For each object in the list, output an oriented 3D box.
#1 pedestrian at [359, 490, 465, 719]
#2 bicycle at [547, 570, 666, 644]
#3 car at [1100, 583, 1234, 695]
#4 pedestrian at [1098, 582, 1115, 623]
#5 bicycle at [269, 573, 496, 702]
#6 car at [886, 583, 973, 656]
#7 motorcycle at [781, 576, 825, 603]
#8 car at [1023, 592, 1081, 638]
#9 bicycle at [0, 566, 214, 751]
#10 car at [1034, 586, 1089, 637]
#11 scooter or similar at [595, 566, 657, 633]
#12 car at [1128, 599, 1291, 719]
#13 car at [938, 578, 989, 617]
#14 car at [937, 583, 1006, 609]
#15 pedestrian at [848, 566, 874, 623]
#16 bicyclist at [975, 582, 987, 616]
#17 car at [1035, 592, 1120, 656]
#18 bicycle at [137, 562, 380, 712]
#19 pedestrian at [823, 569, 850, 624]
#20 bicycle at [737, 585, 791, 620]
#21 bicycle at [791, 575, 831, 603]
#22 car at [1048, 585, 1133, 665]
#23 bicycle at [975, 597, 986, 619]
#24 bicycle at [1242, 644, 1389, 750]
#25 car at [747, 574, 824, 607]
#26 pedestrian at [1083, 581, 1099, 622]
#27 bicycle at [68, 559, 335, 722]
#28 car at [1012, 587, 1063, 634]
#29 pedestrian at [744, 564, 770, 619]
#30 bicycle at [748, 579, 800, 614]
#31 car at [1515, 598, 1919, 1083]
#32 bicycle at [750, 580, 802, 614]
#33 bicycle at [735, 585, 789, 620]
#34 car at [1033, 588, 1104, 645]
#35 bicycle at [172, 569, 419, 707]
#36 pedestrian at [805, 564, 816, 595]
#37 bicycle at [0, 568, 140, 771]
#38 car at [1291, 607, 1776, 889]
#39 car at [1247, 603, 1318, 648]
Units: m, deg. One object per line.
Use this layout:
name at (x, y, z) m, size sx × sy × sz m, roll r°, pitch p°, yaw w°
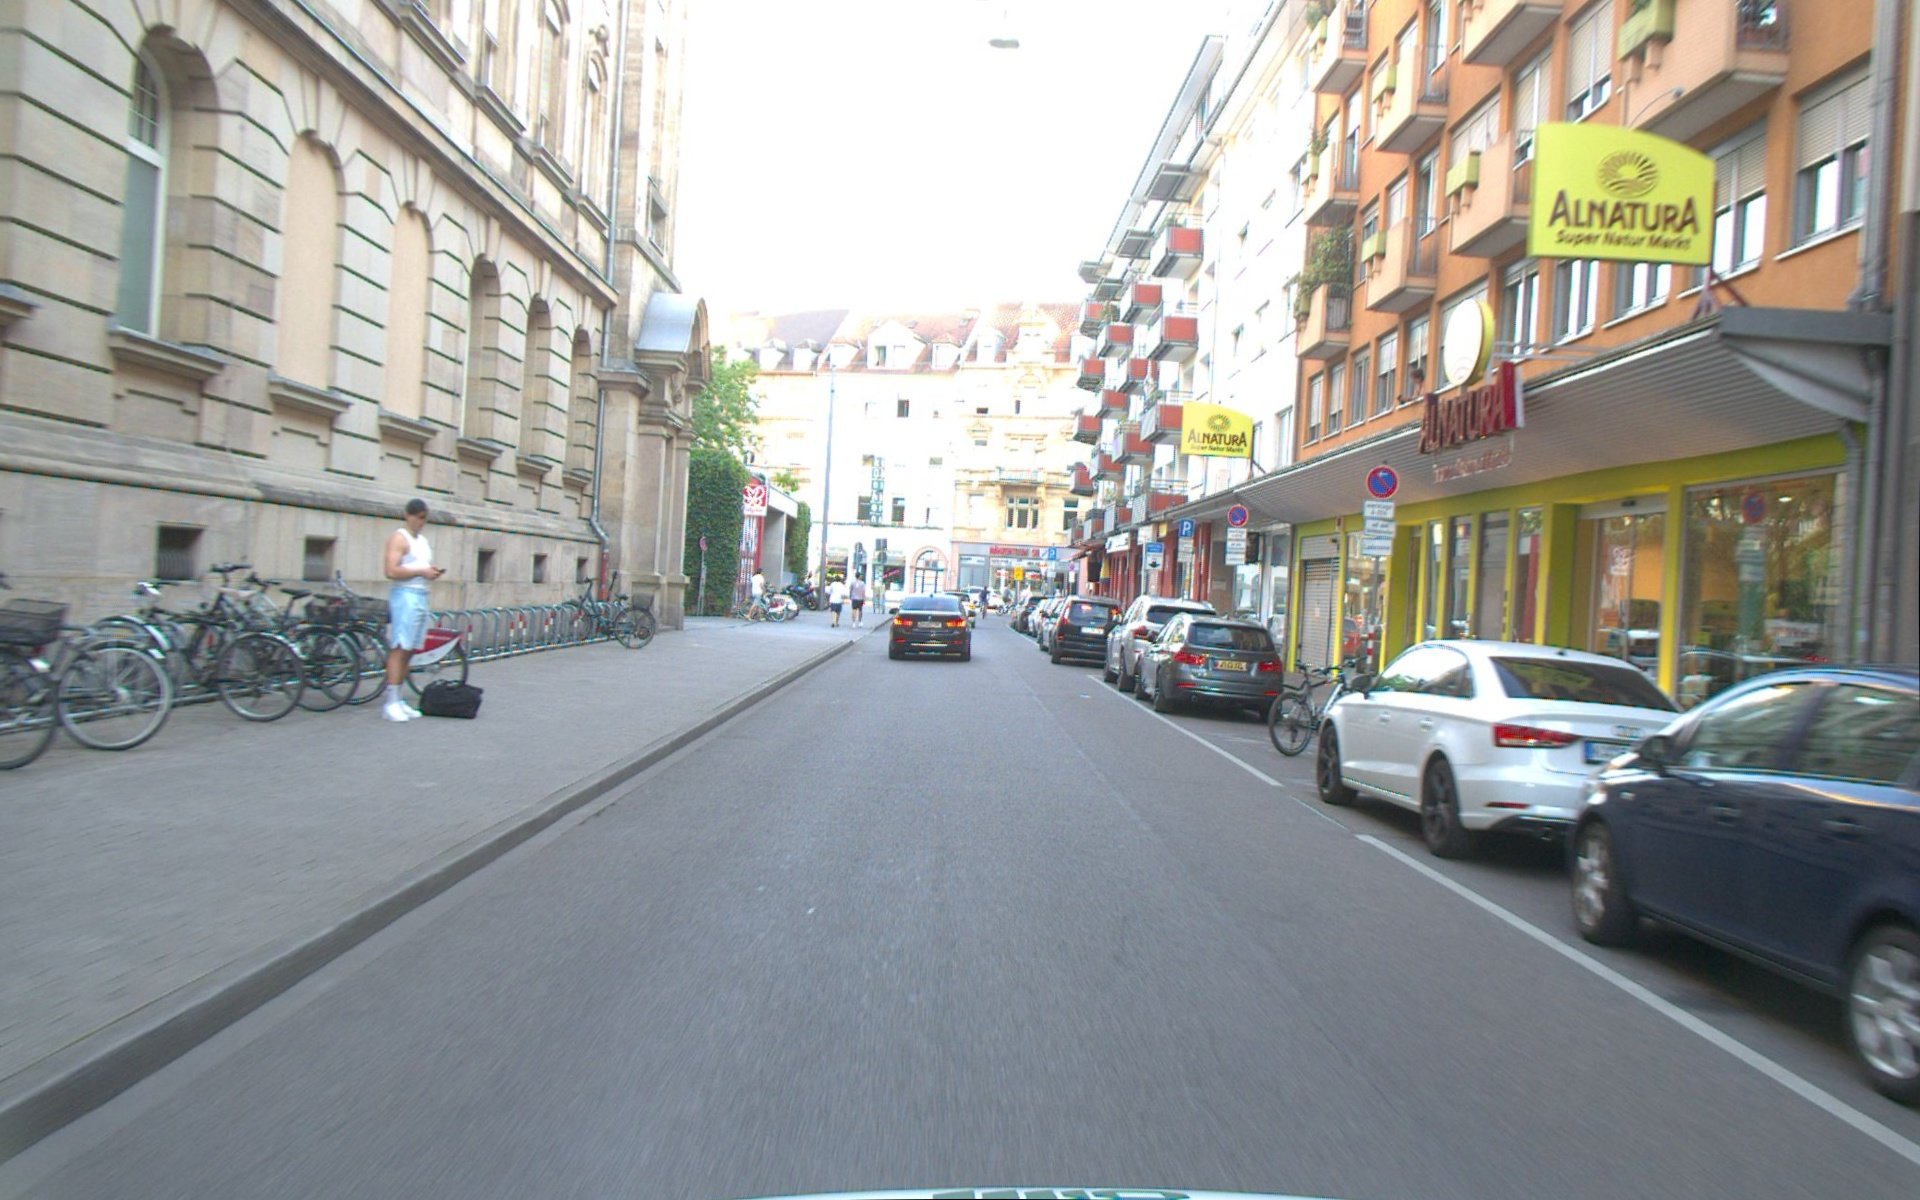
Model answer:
pedestrian at (-4.717, 0.030, 14.270) m, size 0.577 × 1.883 × 0.753 m, roll 5°, pitch 0°, yaw -6°
bicycle at (-6.178, 0.127, 28.885) m, size 1.906 × 1.079 × 0.617 m, roll 6°, pitch -1°, yaw -16°
car at (3.661, 0.633, 30.073) m, size 1.717 × 1.696 × 4.756 m, roll 5°, pitch 1°, yaw 0°
pedestrian at (6.065, 0.090, 68.443) m, size 0.634 × 1.690 × 0.794 m, roll 0°, pitch 0°, yaw 1°
bicycle at (-5.572, 0.362, 16.029) m, size 1.899 × 1.080 × 0.619 m, roll 4°, pitch -1°, yaw -3°
car at (-0.631, 0.390, 36.992) m, size 1.729 × 1.398 × 4.790 m, roll 4°, pitch 1°, yaw 0°
motorcycle at (-7.075, -0.486, 74.598) m, size 1.765 × 1.082 × 0.764 m, roll 4°, pitch 0°, yaw 25°
car at (3.421, 0.533, 62.269) m, size 1.665 × 1.477 × 4.457 m, roll 5°, pitch 1°, yaw -2°
bicycle at (-5.986, 0.346, 10.747) m, size 1.900 × 1.080 × 0.619 m, roll 4°, pitch 0°, yaw -7°
car at (3.465, 0.377, 57.090) m, size 1.574 × 1.538 × 4.048 m, roll 5°, pitch 1°, yaw 1°
scooter or similar at (-6.595, -0.012, 32.667) m, size 1.113 × 1.254 × 0.495 m, roll 4°, pitch 0°, yaw -13°
car at (3.664, 0.808, 25.105) m, size 1.657 × 1.439 × 4.756 m, roll 5°, pitch 1°, yaw 0°
car at (0.192, -0.116, 68.693) m, size 1.838 × 1.498 × 4.002 m, roll 2°, pitch 1°, yaw 3°
car at (0.763, -0.271, 112.883) m, size 4.263 × 1.589 × 1.868 m, roll 3°, pitch 0°, yaw 22°
pedestrian at (-3.443, -0.208, 57.549) m, size 0.729 × 1.926 × 1.050 m, roll 4°, pitch 1°, yaw 0°
bicyclist at (1.113, -0.070, 88.044) m, size 0.513 × 1.787 × 0.620 m, roll 3°, pitch 0°, yaw 1°
car at (3.117, 0.601, 44.690) m, size 1.702 × 1.439 × 4.681 m, roll 5°, pitch 1°, yaw -2°
bicycle at (-5.981, 0.314, 14.166) m, size 1.760 × 1.127 × 0.499 m, roll 4°, pitch -1°, yaw -7°
pedestrian at (-4.277, -0.120, 57.189) m, size 0.726 × 1.843 × 1.009 m, roll 5°, pitch 0°, yaw -1°
bicycle at (-6.775, 0.084, 57.298) m, size 1.758 × 1.127 × 0.500 m, roll 3°, pitch 0°, yaw -1°
bicycle at (-6.964, -0.517, 77.376) m, size 1.760 × 1.126 × 0.499 m, roll 4°, pitch 0°, yaw -6°
car at (3.082, 0.535, 39.313) m, size 1.757 × 1.637 × 4.489 m, roll 5°, pitch 1°, yaw 4°
bicycle at (1.084, 0.396, 88.067) m, size 0.525 × 1.127 × 1.800 m, roll 3°, pitch 0°, yaw 1°
bicycle at (3.939, 1.072, 18.270) m, size 1.723 × 1.073 × 0.650 m, roll 4°, pitch 0°, yaw -42°
car at (-9.177, -0.502, 86.856) m, size 3.913 × 1.527 × 1.888 m, roll 2°, pitch 1°, yaw -9°
pedestrian at (5.403, 0.061, 68.436) m, size 0.634 × 1.690 × 0.655 m, roll 0°, pitch 0°, yaw 1°
bicycle at (-5.918, 0.316, 12.967) m, size 1.760 × 1.127 × 0.499 m, roll 4°, pitch -1°, yaw -7°
car at (3.206, 0.405, 68.803) m, size 1.729 × 1.670 × 4.790 m, roll 5°, pitch 1°, yaw 0°
pedestrian at (-6.810, -0.293, 55.439) m, size 0.702 × 1.785 × 0.848 m, roll 3°, pitch 0°, yaw -2°
bicycle at (-6.734, -0.119, 59.820) m, size 1.757 × 1.127 × 0.500 m, roll 4°, pitch 0°, yaw 2°
car at (3.976, 0.869, 7.085) m, size 1.586 × 1.542 × 4.172 m, roll 5°, pitch 1°, yaw -2°
bicycle at (-6.723, -0.124, 60.453) m, size 1.757 × 1.127 × 0.500 m, roll 4°, pitch 0°, yaw 2°
bicycle at (-6.904, 0.079, 57.643) m, size 1.758 × 1.127 × 0.500 m, roll 3°, pitch 0°, yaw -2°
car at (3.383, 0.484, 52.556) m, size 1.678 × 1.538 × 4.650 m, roll 5°, pitch 1°, yaw -2°
bicycle at (-5.984, 0.342, 14.981) m, size 1.900 × 1.080 × 0.619 m, roll 4°, pitch -1°, yaw -7°
pedestrian at (-8.156, -1.130, 90.102) m, size 0.490 × 1.671 × 0.521 m, roll 2°, pitch 0°, yaw 1°
bicycle at (-5.857, 0.339, 9.501) m, size 1.898 × 1.080 × 0.619 m, roll 4°, pitch 0°, yaw -2°
car at (3.918, 0.905, 12.256) m, size 1.658 × 1.435 × 4.636 m, roll 5°, pitch 1°, yaw -3°
car at (11.080, 0.854, 57.075) m, size 1.704 × 1.360 × 4.001 m, roll 2°, pitch 1°, yaw 2°
